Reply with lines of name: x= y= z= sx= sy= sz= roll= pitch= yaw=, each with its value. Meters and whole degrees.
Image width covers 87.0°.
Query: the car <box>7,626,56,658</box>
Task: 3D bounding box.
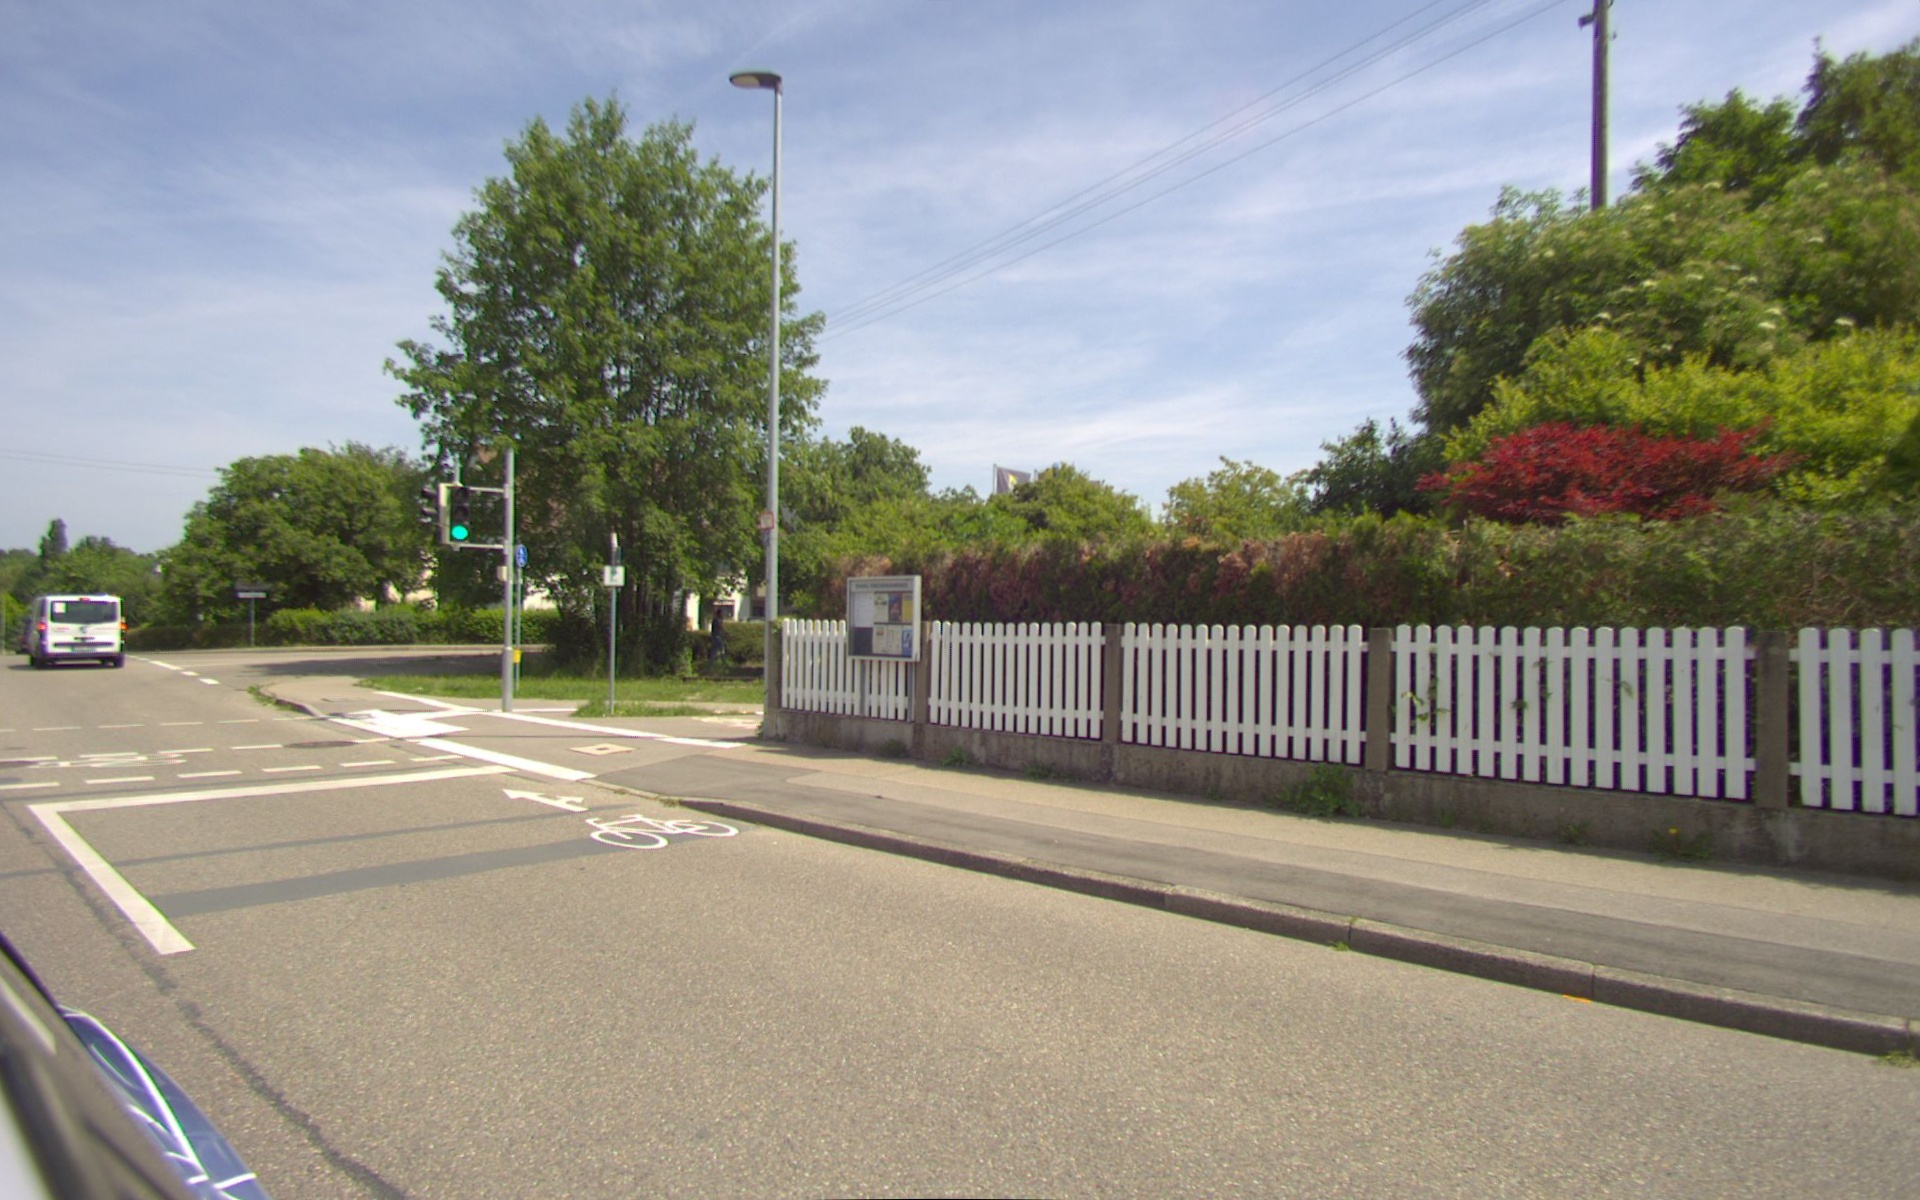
car: x=-59.773 y=2.756 z=65.130 sx=4.870 sy=1.935 sz=1.875 roll=-4 pitch=-5 yaw=43

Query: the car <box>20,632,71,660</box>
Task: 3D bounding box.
car: x=-47.818 y=2.398 z=52.906 sx=1.759 sy=1.405 sz=4.412 roll=3 pitch=-4 yaw=-44

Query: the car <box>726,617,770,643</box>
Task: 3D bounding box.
car: x=-11.398 y=1.577 z=54.280 sx=1.373 sy=1.373 sz=3.619 roll=0 pitch=-1 yaw=-27

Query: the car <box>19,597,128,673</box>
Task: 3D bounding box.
car: x=-25.057 y=0.926 z=28.534 sx=4.904 sy=1.980 sz=1.858 roll=0 pitch=-1 yaw=44
